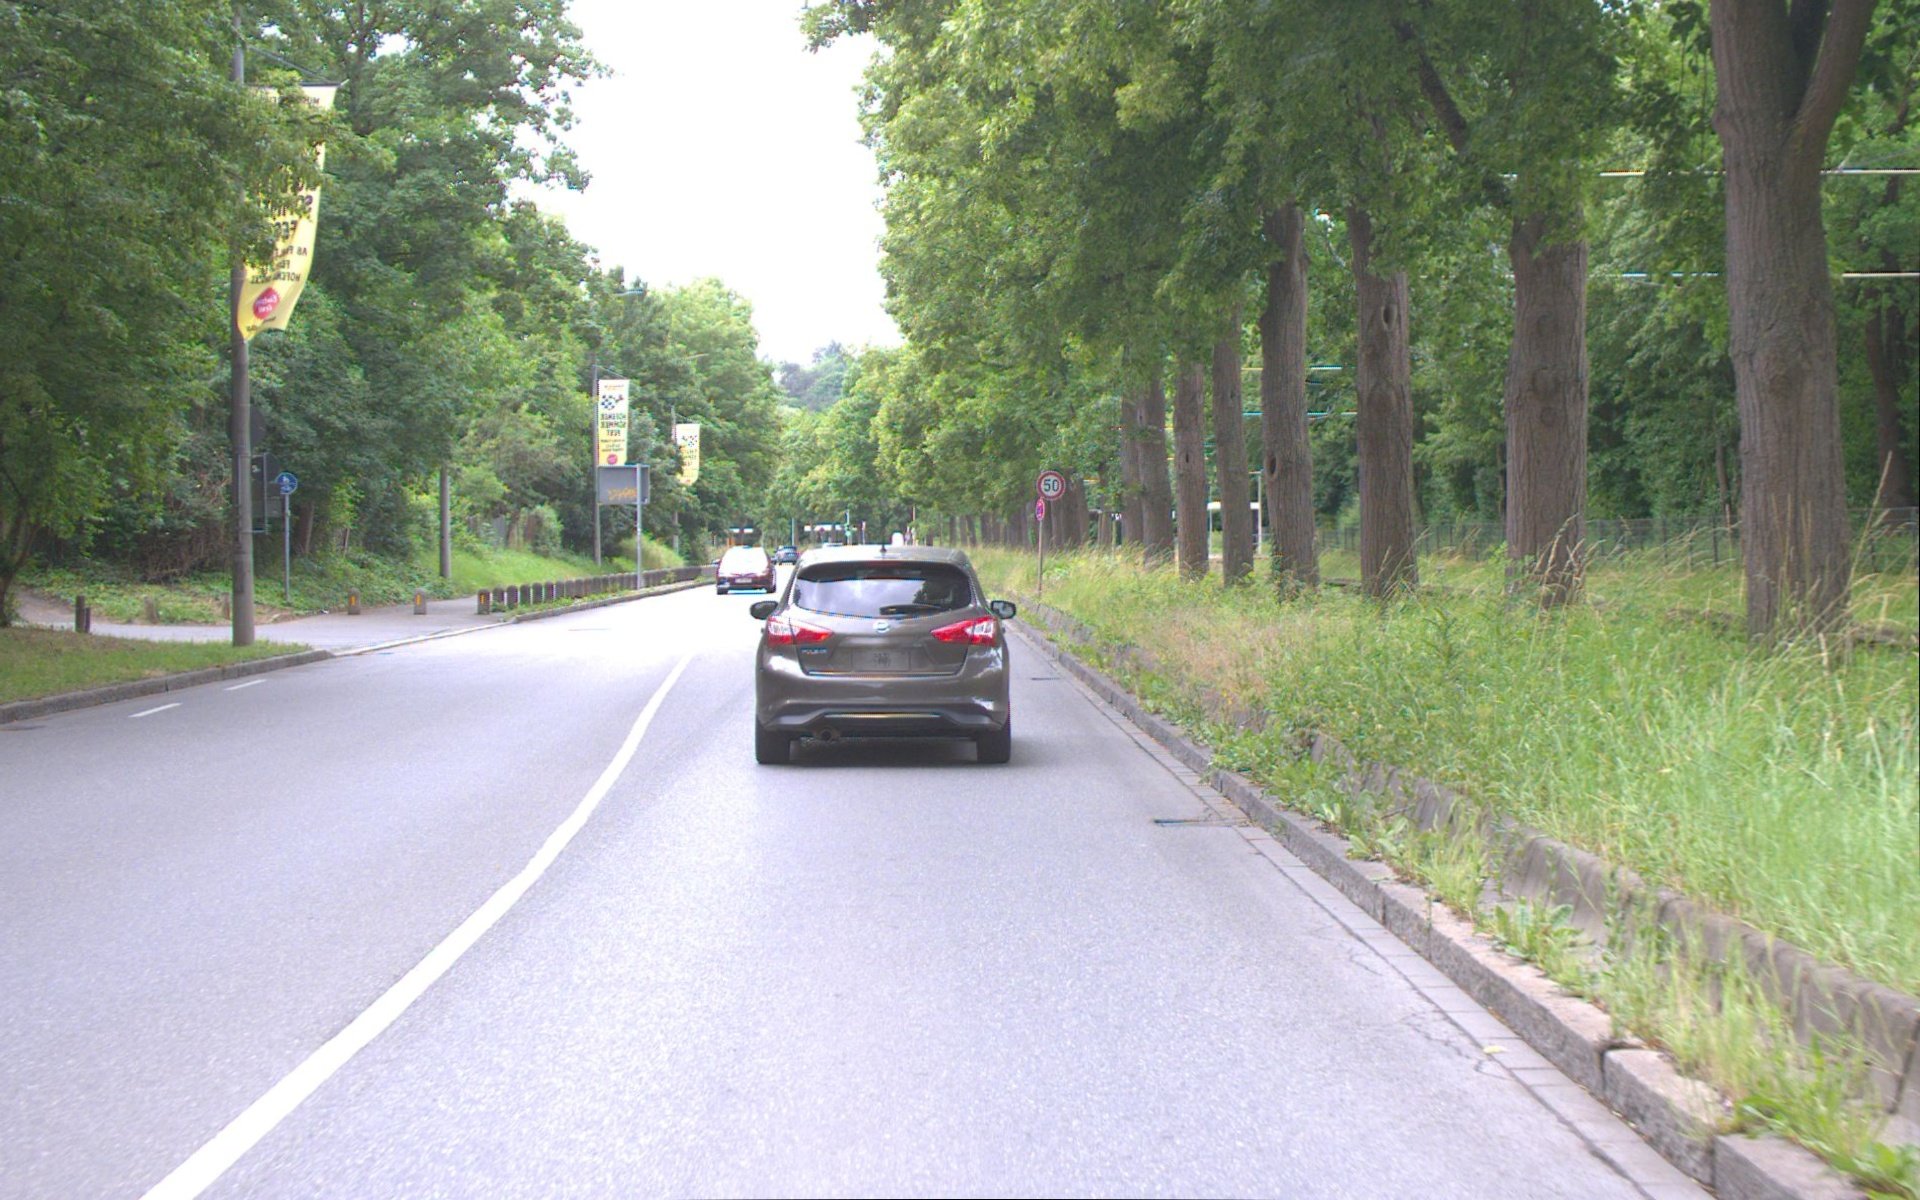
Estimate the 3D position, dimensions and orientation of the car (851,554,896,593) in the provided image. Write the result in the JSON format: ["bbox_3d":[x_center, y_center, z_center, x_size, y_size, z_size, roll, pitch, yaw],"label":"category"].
[{"bbox_3d":[-3.278,-1.017,130.682,1.561,1.436,3.552,1,1,0],"label":"car"}]

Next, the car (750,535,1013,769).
[{"bbox_3d":[-0.571,0.322,24.762,1.730,1.532,3.552,1,1,-1],"label":"car"}]

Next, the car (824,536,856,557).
[{"bbox_3d":[-8.349,-3.703,238.722,1.561,1.436,3.553,1,1,-13],"label":"car"}]

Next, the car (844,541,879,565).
[{"bbox_3d":[-6.041,-2.875,210.492,1.561,1.436,3.553,1,1,-11],"label":"car"}]

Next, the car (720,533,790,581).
[{"bbox_3d":[-6.408,-1.356,107.754,1.716,1.423,4.196,-2,1,3],"label":"car"}]
